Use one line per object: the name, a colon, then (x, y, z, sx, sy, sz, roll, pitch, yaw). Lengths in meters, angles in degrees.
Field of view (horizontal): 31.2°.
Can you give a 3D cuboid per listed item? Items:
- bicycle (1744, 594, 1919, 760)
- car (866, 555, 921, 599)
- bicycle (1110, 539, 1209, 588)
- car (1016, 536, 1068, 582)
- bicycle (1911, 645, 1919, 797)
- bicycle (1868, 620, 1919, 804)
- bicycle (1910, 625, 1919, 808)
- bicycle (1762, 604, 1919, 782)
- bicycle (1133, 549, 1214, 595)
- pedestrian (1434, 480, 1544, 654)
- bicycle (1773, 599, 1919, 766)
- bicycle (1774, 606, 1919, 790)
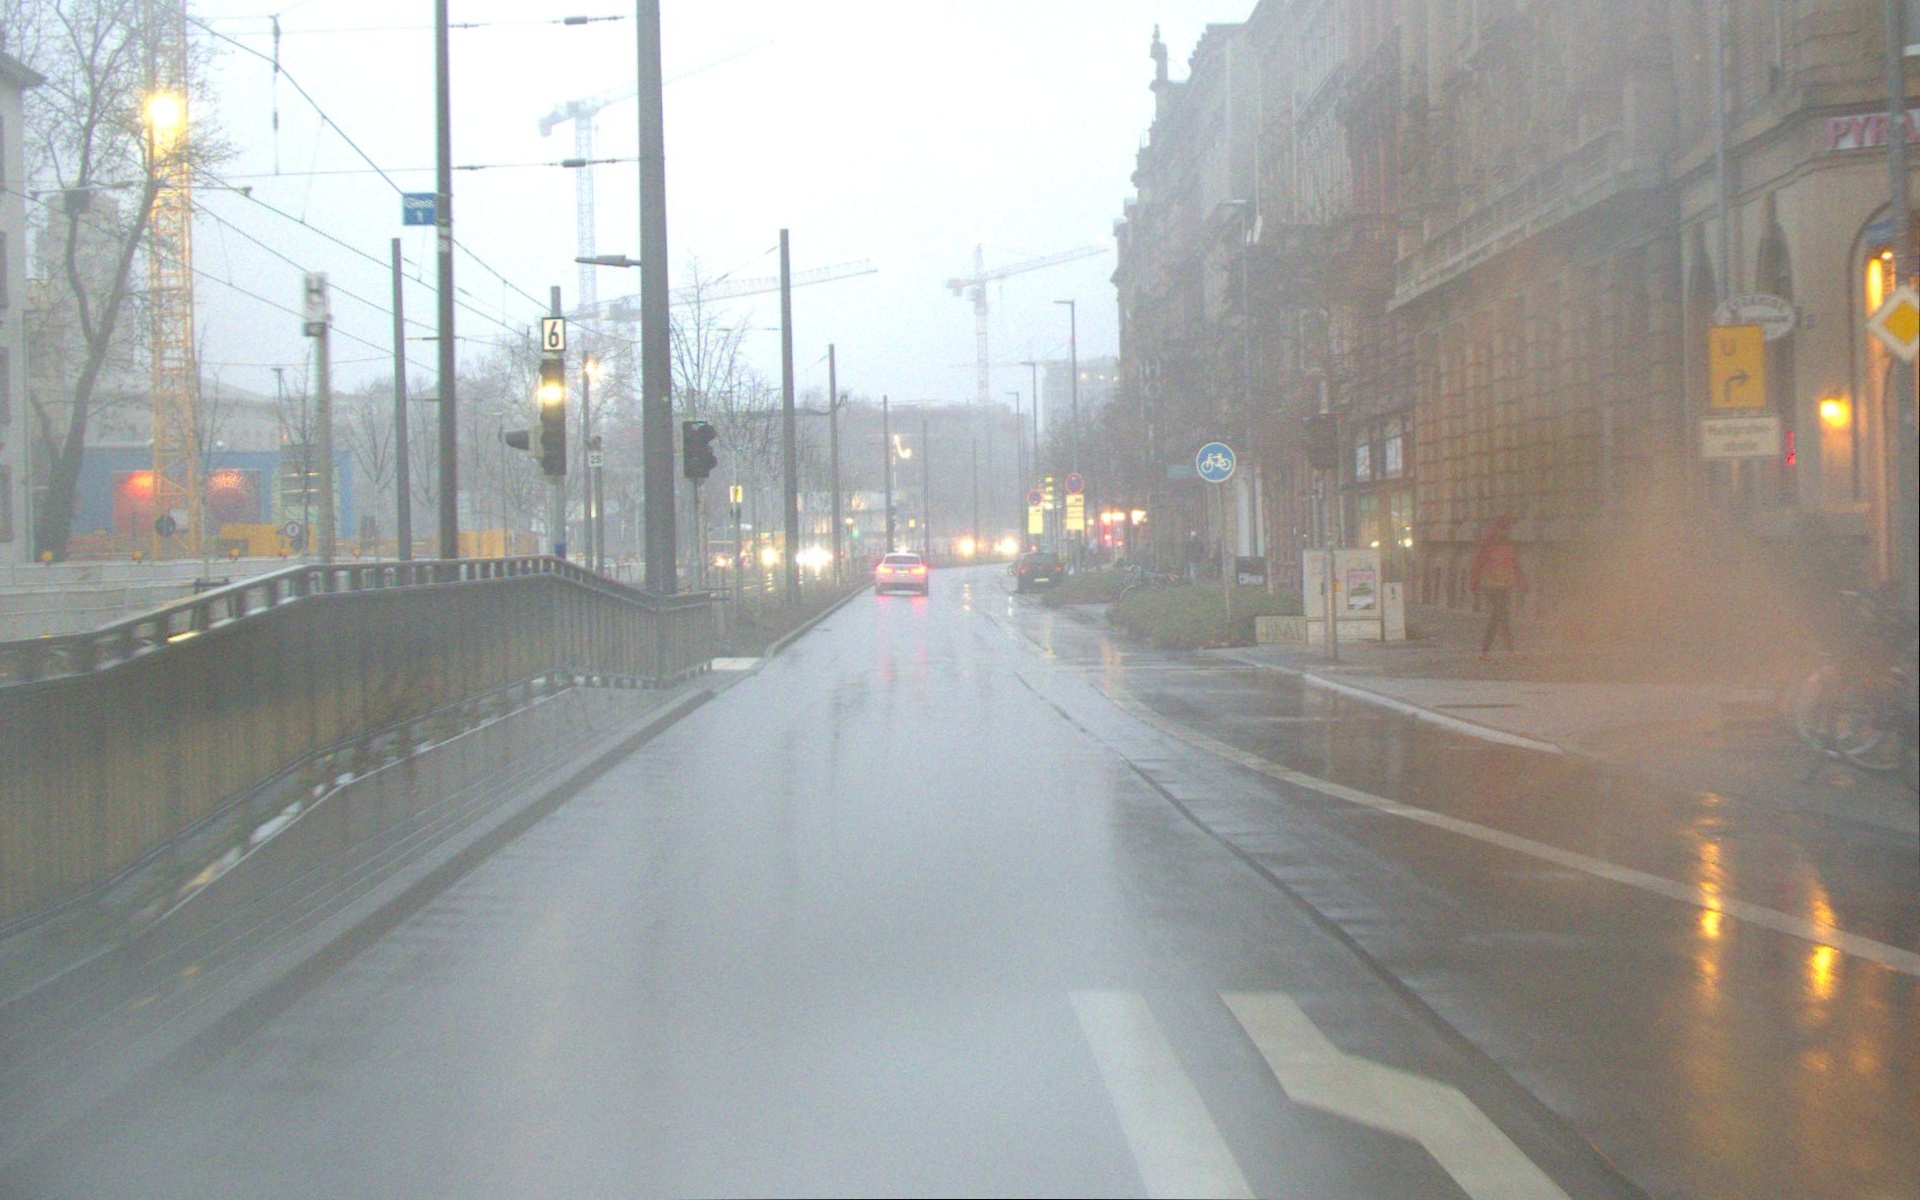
bicycle: (6.464, 0.508, 23.952, 2.087, 1.048, 0.478, -3, 1, -27)
car: (-2.307, -0.831, 120.676, 1.784, 1.462, 3.148, -1, 1, 1)
bicycle: (4.519, -0.823, 77.844, 2.146, 1.053, 0.526, -2, 1, -6)
car: (2.981, -1.508, 124.373, 1.799, 1.598, 3.770, -2, 1, 2)
bicycle: (6.279, 0.669, 18.770, 2.008, 0.967, 0.425, -4, 1, -2)
bicycle: (6.502, 0.614, 20.256, 2.144, 1.051, 0.484, -2, 1, -2)
bicycle: (6.577, 0.613, 19.623, 2.144, 1.051, 0.425, -4, 2, -2)
bicycle: (6.216, 0.555, 21.828, 2.087, 1.048, 0.478, -3, 1, -2)
bicycle: (5.095, -0.666, 81.979, 1.851, 1.054, 0.471, -2, 1, -3)
pedestrian: (6.199, -0.388, 40.297, 0.853, 2.007, 0.918, -1, 1, -30)
bicycle: (6.535, 0.517, 22.897, 2.087, 1.048, 0.478, -3, 1, -2)
bicycle: (6.195, 0.562, 21.318, 2.144, 1.051, 0.425, -4, 2, -2)
